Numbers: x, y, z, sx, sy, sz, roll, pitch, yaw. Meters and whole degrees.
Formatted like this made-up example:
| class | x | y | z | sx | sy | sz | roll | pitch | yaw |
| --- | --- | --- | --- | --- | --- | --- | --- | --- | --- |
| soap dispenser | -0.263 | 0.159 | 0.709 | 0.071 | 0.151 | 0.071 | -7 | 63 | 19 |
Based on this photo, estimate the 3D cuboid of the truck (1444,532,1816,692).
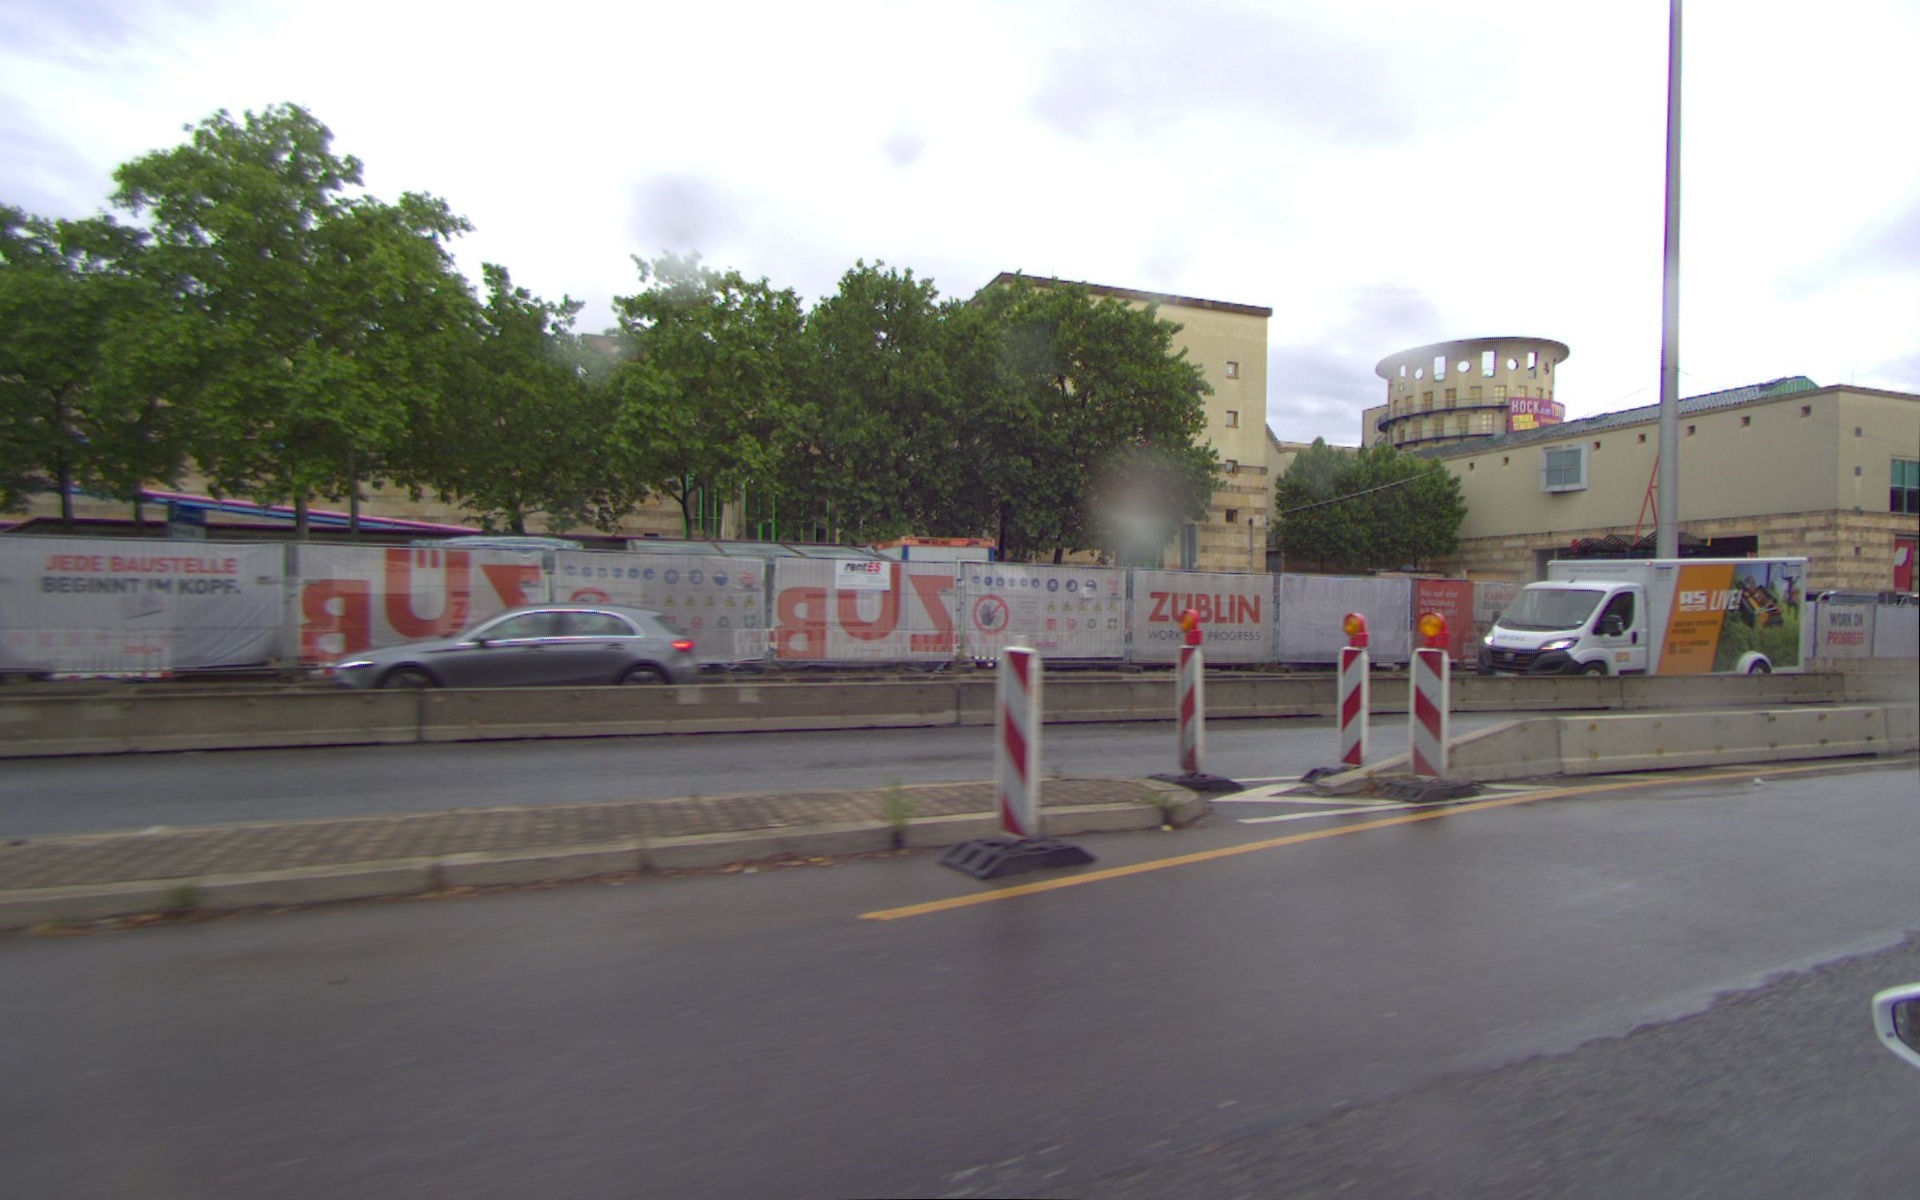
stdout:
| class | x | y | z | sx | sy | sz | roll | pitch | yaw |
| --- | --- | --- | --- | --- | --- | --- | --- | --- | --- |
| truck | 13.230 | 0.281 | 19.767 | 7.246 | 2.755 | 2.393 | 1 | 0 | -22 |

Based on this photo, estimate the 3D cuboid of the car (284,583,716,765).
| class | x | y | z | sx | sy | sz | roll | pitch | yaw |
| --- | --- | --- | --- | --- | --- | --- | --- | --- | --- |
| car | -5.737 | 0.948 | 13.077 | 4.691 | 2.040 | 1.904 | 3 | -2 | -23 |

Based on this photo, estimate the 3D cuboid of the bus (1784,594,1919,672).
| class | x | y | z | sx | sy | sz | roll | pitch | yaw |
| --- | --- | --- | --- | --- | --- | --- | --- | --- | --- |
| bus | 56.094 | 2.028 | 60.379 | 13.275 | 4.309 | 3.117 | 2 | 1 | -17 |

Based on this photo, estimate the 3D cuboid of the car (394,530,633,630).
| class | x | y | z | sx | sy | sz | roll | pitch | yaw |
| --- | --- | --- | --- | --- | --- | --- | --- | --- | --- |
| car | -9.734 | -0.395 | 22.302 | 4.644 | 2.040 | 1.991 | 1 | 0 | -20 |

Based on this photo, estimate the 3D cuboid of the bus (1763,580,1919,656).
| class | x | y | z | sx | sy | sz | roll | pitch | yaw |
| --- | --- | --- | --- | --- | --- | --- | --- | --- | --- |
| bus | 51.624 | 1.064 | 56.045 | 14.359 | 3.862 | 2.803 | 2 | 1 | -17 |
